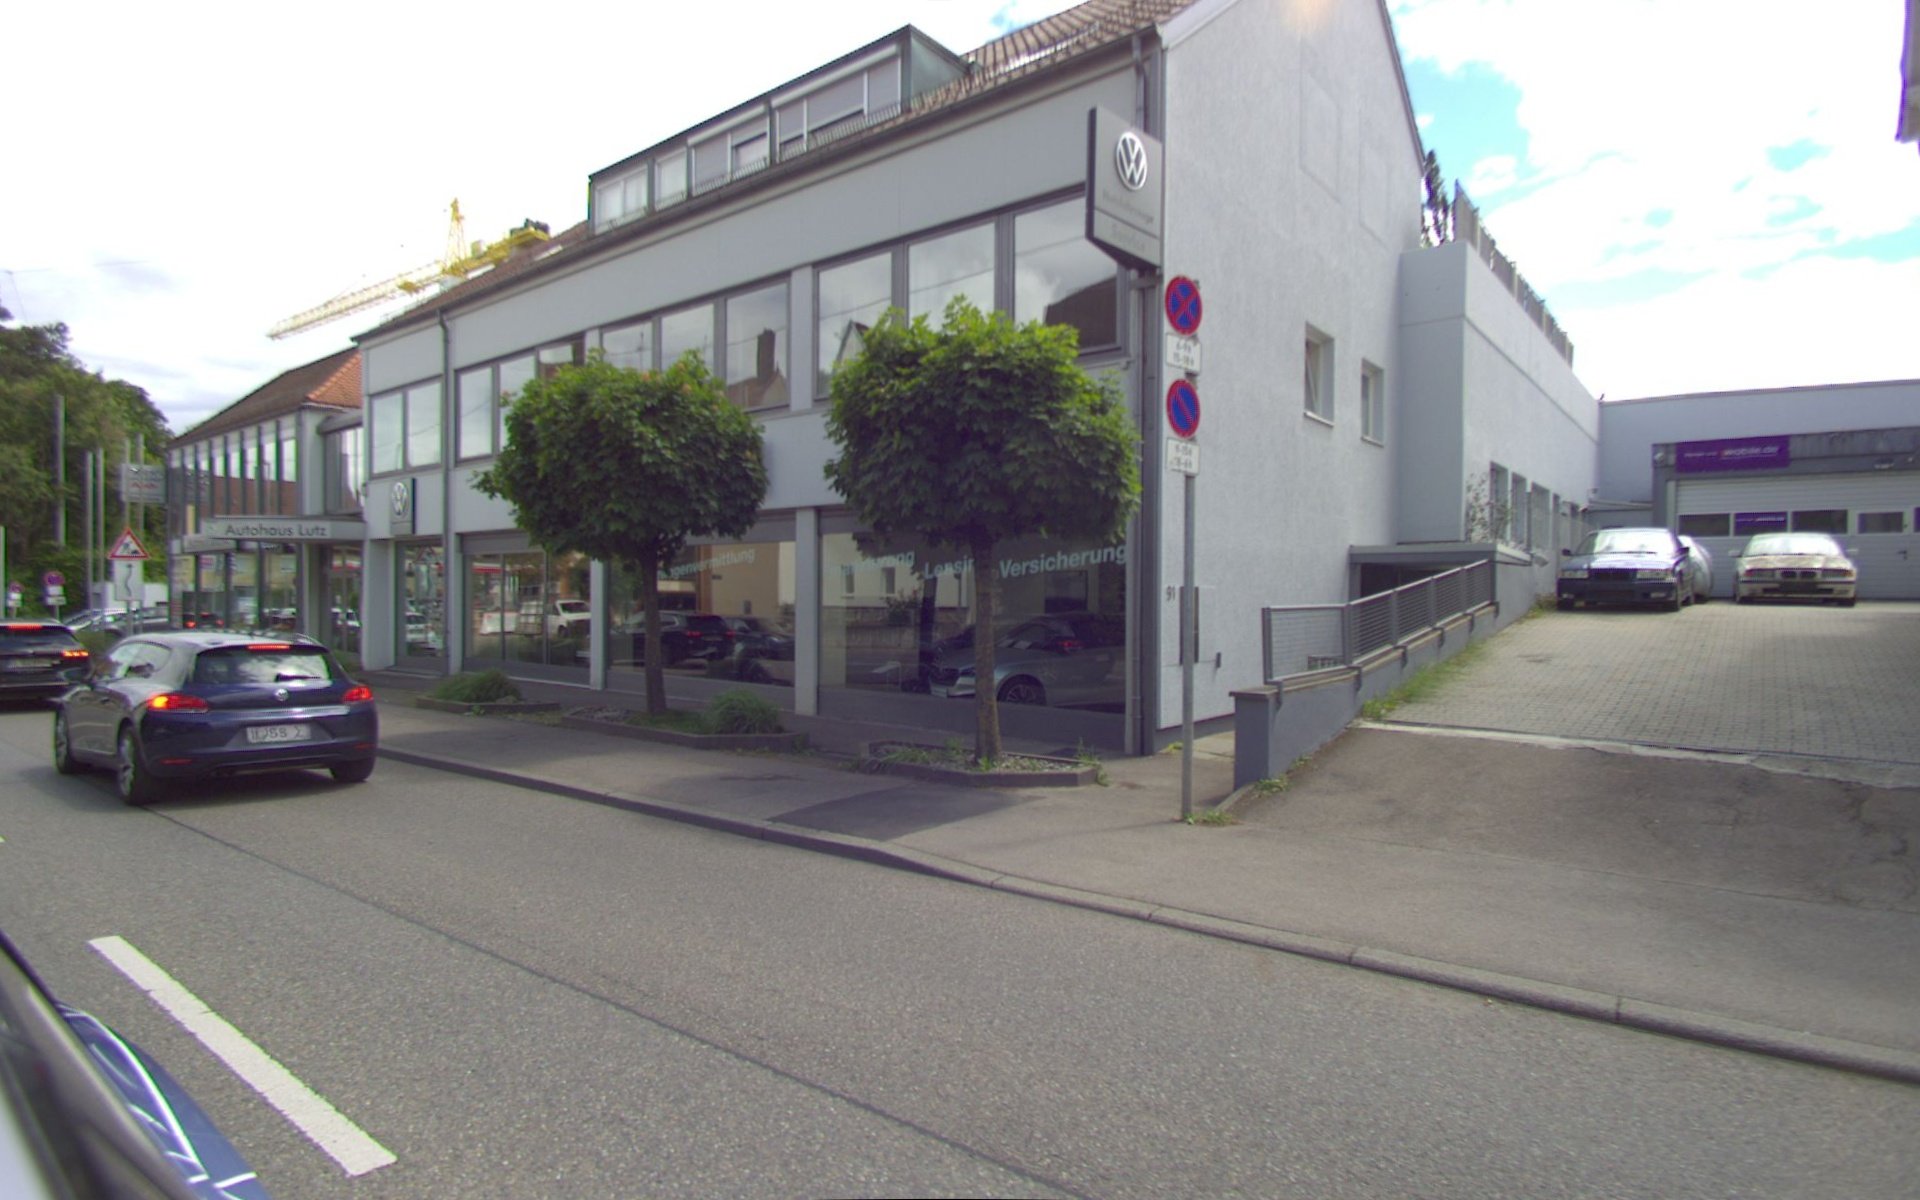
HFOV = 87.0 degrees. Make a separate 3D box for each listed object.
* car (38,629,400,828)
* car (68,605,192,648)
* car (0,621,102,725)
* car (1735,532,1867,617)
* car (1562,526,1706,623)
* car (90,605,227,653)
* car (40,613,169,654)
[{"bbox_3d":[-7.052,1.016,9.485,4.105,1.436,1.753,-1,-2,39],"label":"car"},{"bbox_3d":[-34.573,1.076,42.207,1.532,1.572,3.706,-1,1,37],"label":"car"},{"bbox_3d":[-16.144,1.147,17.024,4.456,1.535,1.759,0,-1,38],"label":"car"},{"bbox_3d":[15.374,-0.510,18.657,1.701,1.412,3.705,1,3,38],"label":"car"},{"bbox_3d":[11.195,-0.434,16.710,1.701,1.412,3.705,-1,1,38],"label":"car"},{"bbox_3d":[-31.989,1.138,40.473,1.651,1.642,3.977,-1,1,37],"label":"car"},{"bbox_3d":[-39.086,1.497,46.312,1.902,1.653,4.248,-2,0,39],"label":"car"}]
